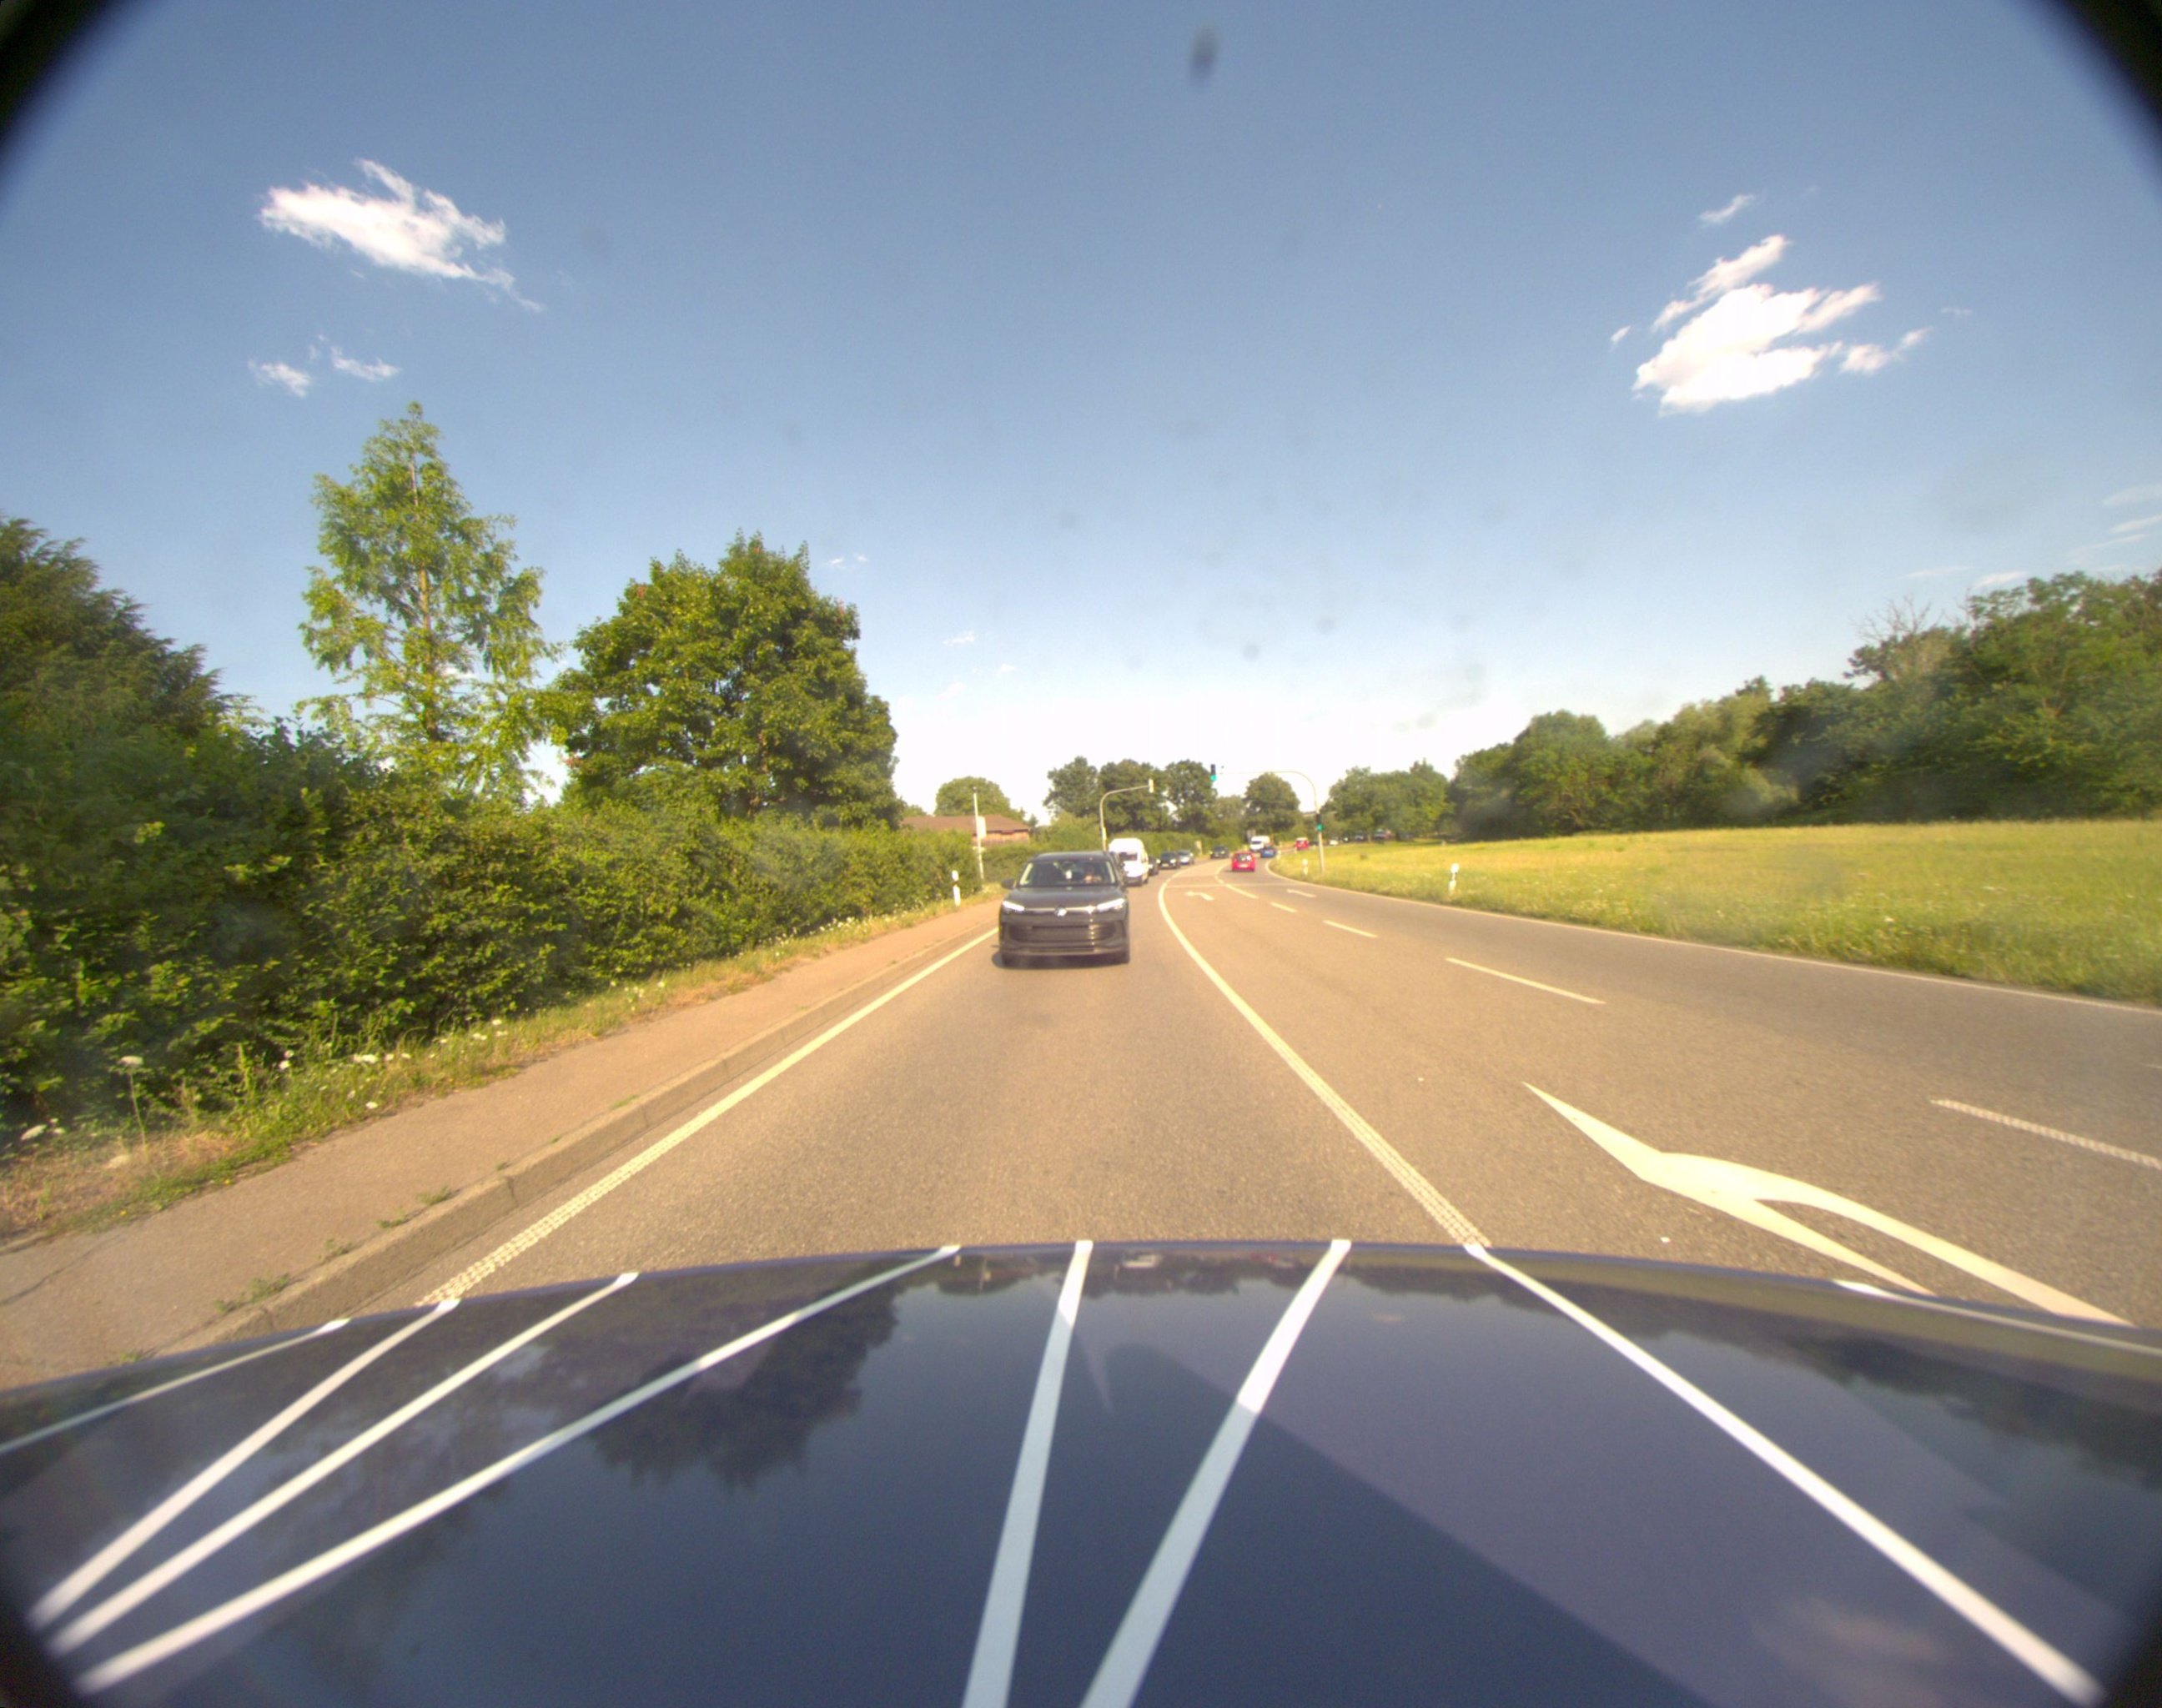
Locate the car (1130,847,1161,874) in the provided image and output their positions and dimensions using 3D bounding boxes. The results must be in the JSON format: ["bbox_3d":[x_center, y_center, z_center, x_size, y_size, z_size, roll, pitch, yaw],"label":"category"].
[{"bbox_3d":[4.387,0.433,51.327,1.692,1.718,3.671,0,1,10],"label":"car"}]

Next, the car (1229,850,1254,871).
[{"bbox_3d":[11.715,0.437,55.474,1.588,1.458,3.609,-1,0,9],"label":"car"}]

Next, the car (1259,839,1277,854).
[{"bbox_3d":[22.878,-0.905,92.718,1.726,1.871,4.342,-1,0,19],"label":"car"}]

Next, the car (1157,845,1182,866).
[{"bbox_3d":[7.467,0.094,63.839,1.672,1.718,3.671,0,2,14],"label":"car"}]

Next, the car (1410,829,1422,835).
[{"bbox_3d":[85.266,-5.627,193.283,1.746,1.458,3.486,0,2,45],"label":"car"}]

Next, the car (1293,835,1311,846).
[{"bbox_3d":[37.501,-2.319,128.924,1.881,1.765,4.330,-1,0,30],"label":"car"}]

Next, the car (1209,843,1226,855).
[{"bbox_3d":[17.042,-0.651,94.893,1.605,1.471,3.621,0,1,18],"label":"car"}]

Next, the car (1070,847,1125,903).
[{"bbox_3d":[0.619,0.652,25.512,1.659,1.720,3.805,-1,0,3],"label":"car"}]

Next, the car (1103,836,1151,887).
[{"bbox_3d":[2.370,0.334,37.909,1.843,2.338,4.792,-1,1,9],"label":"car"}]

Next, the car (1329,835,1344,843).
[{"bbox_3d":[52.201,-3.083,155.132,1.881,1.577,4.339,-1,0,33],"label":"car"}]

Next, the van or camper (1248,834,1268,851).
[{"bbox_3d":[28.578,-1.824,122.269,2.031,2.461,5.085,-4,0,24],"label":"van or camper"}]

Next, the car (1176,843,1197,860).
[{"bbox_3d":[10.339,-0.264,74.428,1.633,1.550,3.420,-1,2,15],"label":"car"}]

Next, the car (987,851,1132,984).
[{"bbox_3d":[-0.202,0.820,11.882,1.865,1.633,4.000,-1,1,2],"label":"car"}]
